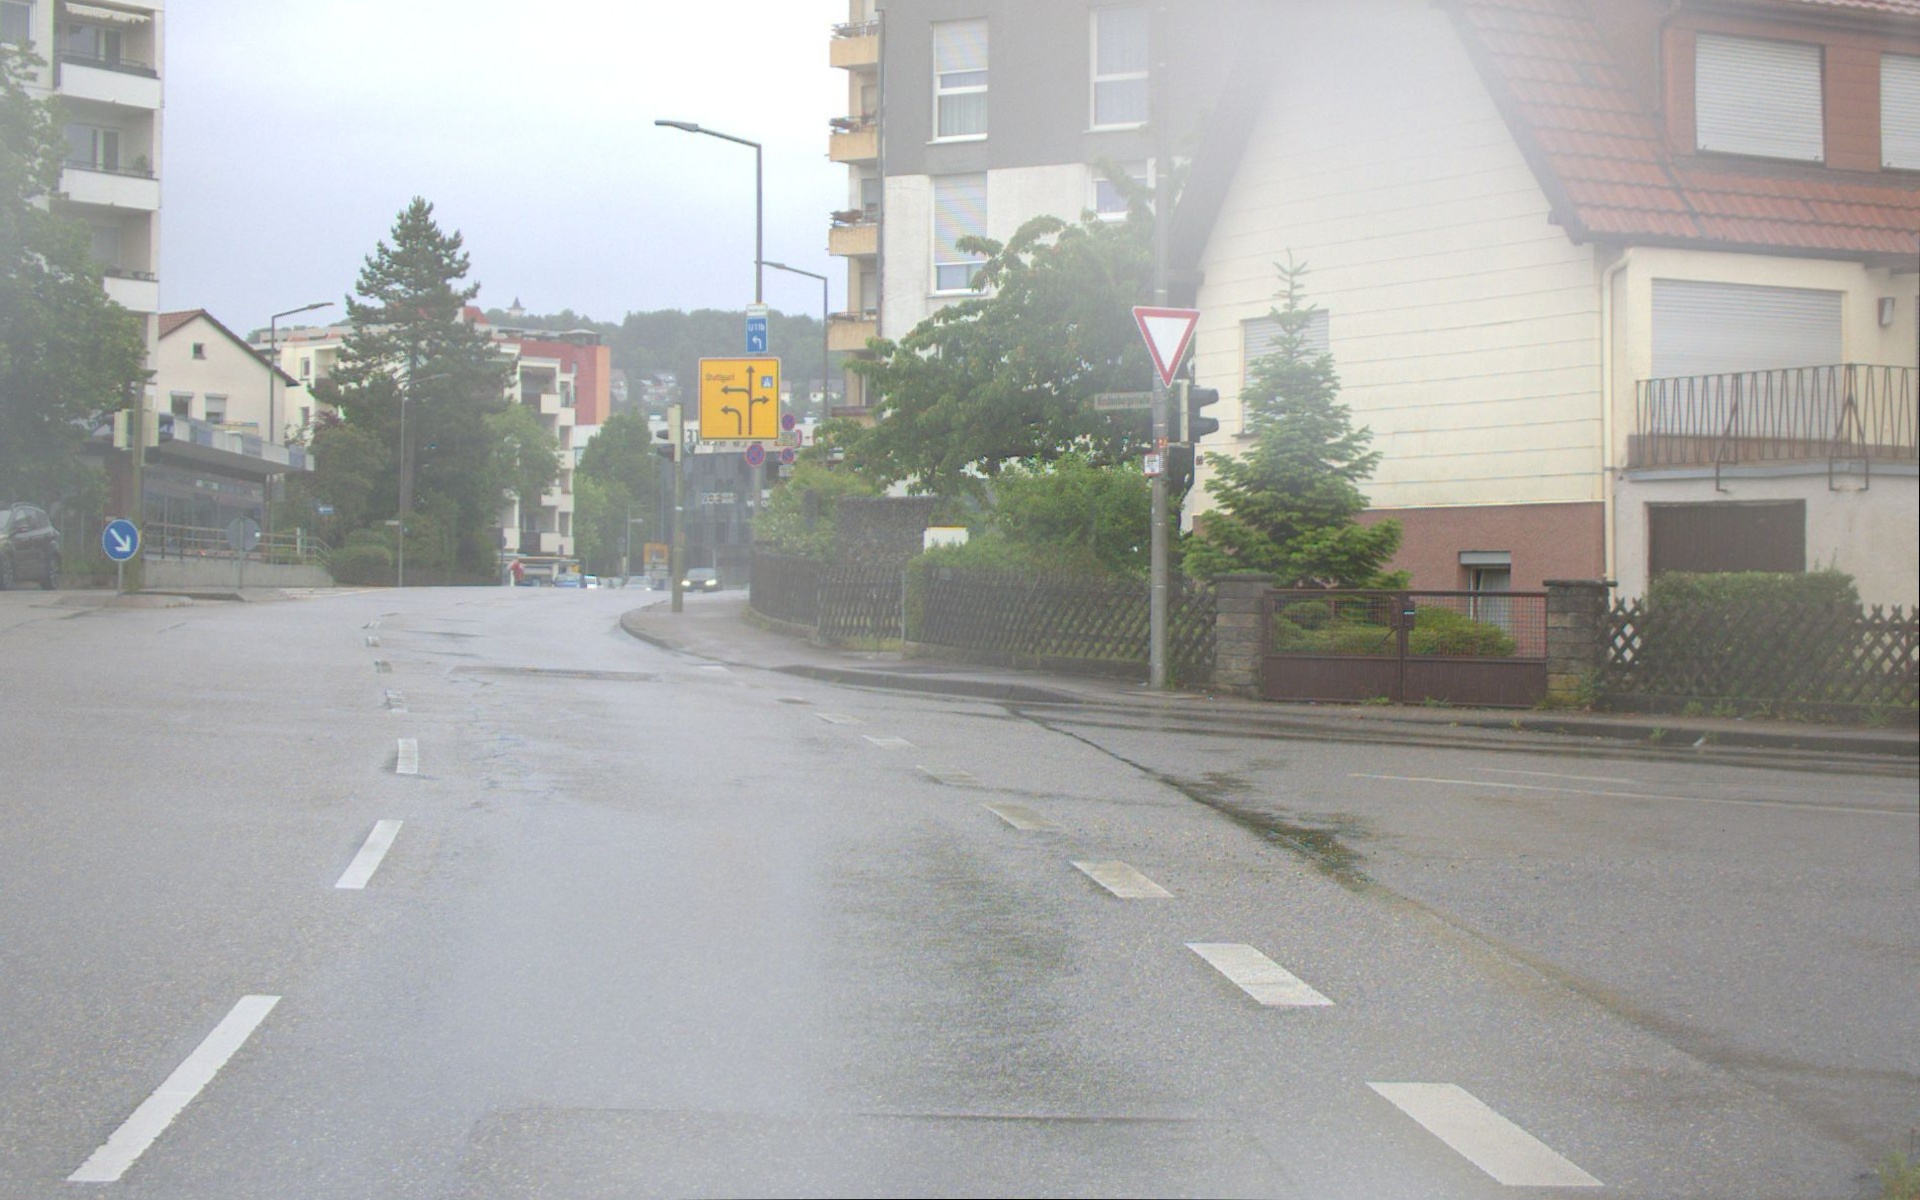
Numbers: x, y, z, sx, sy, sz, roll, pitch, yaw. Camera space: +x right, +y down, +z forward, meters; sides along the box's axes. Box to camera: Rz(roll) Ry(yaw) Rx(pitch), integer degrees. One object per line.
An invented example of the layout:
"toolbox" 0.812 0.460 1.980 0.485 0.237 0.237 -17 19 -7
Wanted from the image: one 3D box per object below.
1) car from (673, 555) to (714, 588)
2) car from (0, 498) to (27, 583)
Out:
"car" -14.671 -1.570 189.042 1.993 1.731 5.182 1 1 -7
"car" -18.809 -1.124 63.987 1.879 1.592 4.185 1 1 -2
